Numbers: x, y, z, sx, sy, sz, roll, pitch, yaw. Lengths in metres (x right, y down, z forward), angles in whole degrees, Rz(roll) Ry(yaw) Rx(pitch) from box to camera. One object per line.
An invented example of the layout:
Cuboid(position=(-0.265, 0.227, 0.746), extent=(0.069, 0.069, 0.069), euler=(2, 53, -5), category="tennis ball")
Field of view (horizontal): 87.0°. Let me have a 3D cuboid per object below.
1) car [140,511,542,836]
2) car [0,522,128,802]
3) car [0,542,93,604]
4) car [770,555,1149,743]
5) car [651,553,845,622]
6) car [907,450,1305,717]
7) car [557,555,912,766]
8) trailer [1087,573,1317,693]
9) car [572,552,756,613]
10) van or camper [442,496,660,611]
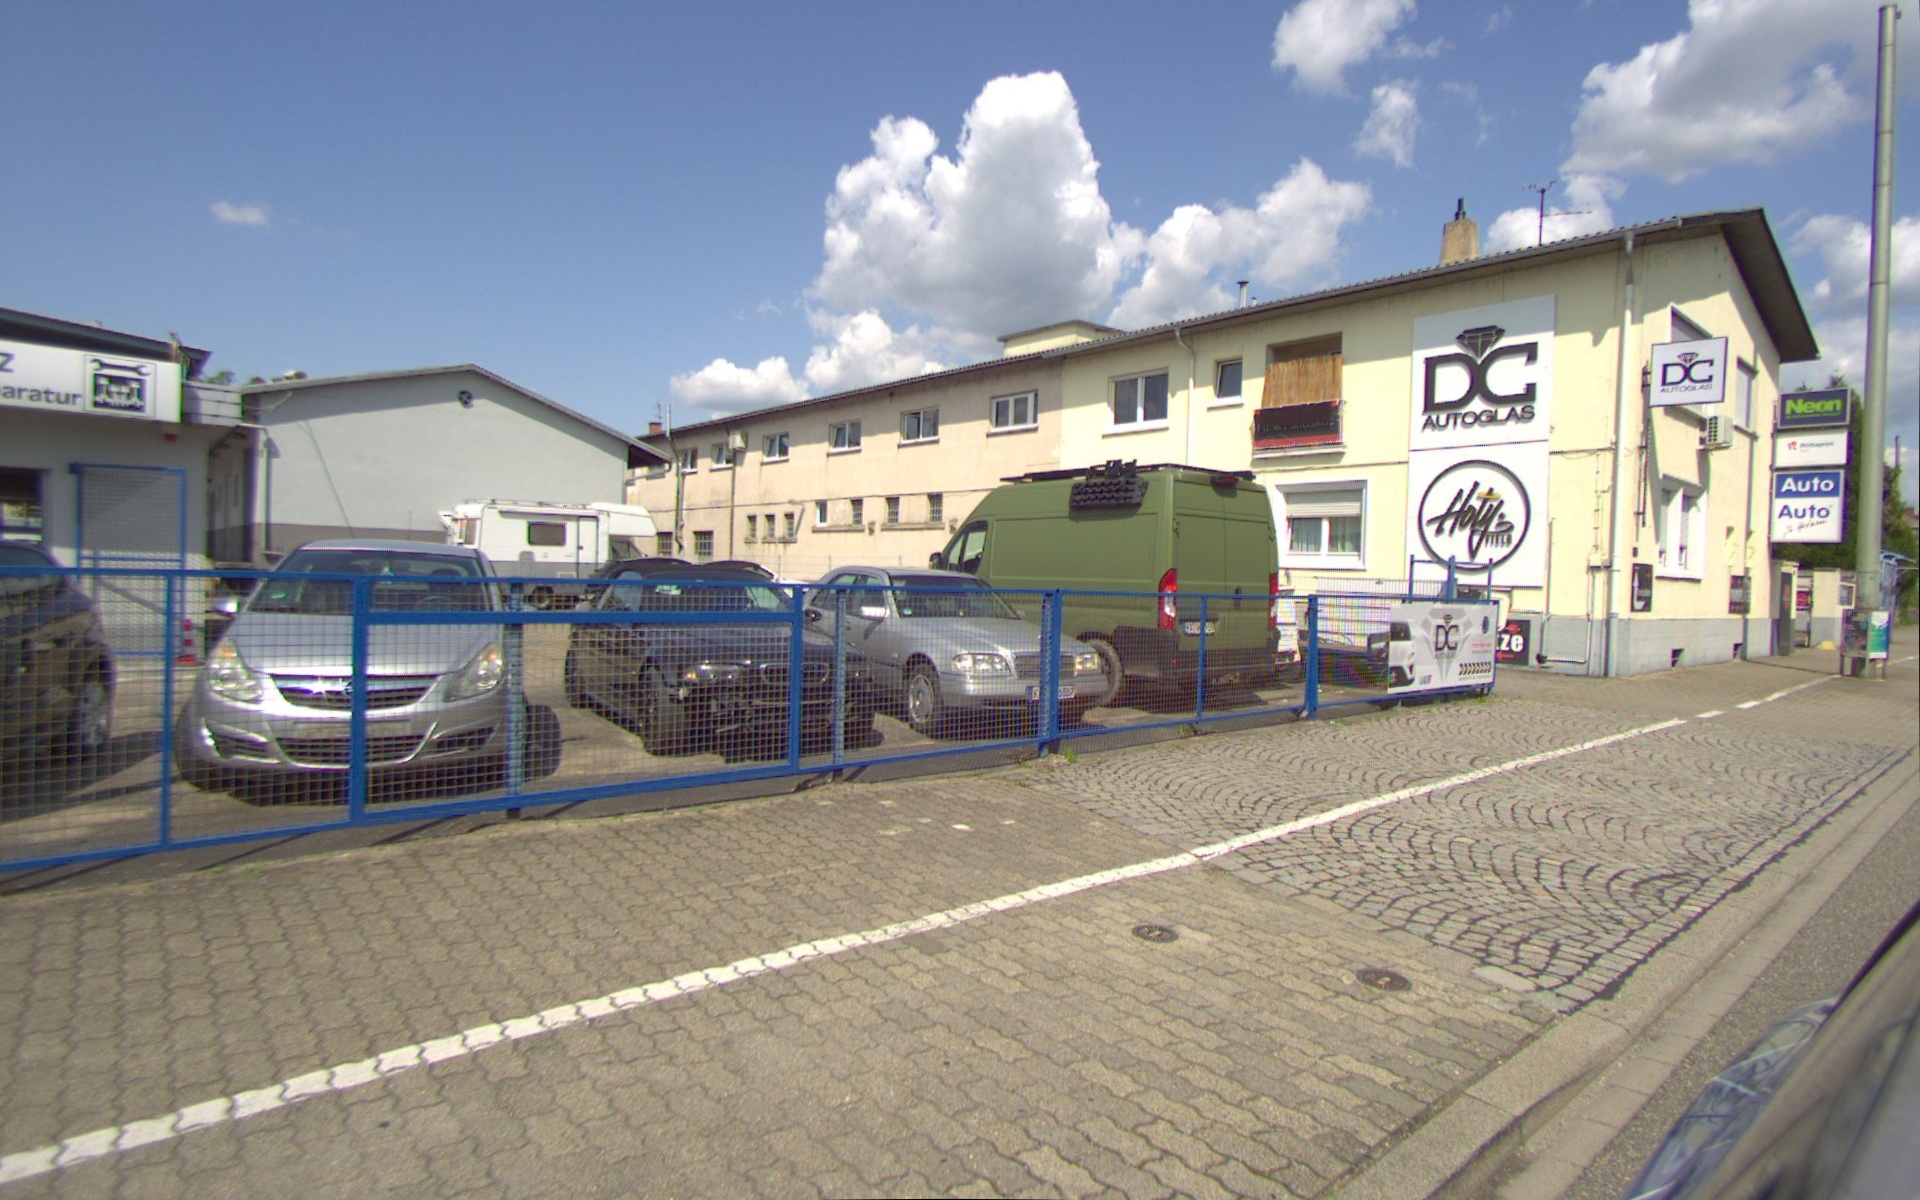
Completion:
Cuboid(position=(-3.870, 0.268, 6.876), extent=(1.714, 1.515, 4.008), euler=(1, 2, -25), category="car")
Cuboid(position=(-5.669, 0.326, 4.723), extent=(1.675, 1.460, 4.009), euler=(1, 2, -23), category="car")
Cuboid(position=(-22.855, -0.658, 23.506), extent=(4.110, 1.405, 1.925), euler=(-1, 3, -42), category="car")
Cuboid(position=(-0.240, 0.306, 10.161), extent=(1.785, 1.449, 4.200), euler=(0, 2, -33), category="car")
Cuboid(position=(-4.879, -0.321, 23.595), extent=(4.110, 1.433, 1.756), euler=(-1, 3, -42), category="car")
Cuboid(position=(1.556, -0.252, 12.319), extent=(2.112, 2.605, 4.549), euler=(0, 2, -38), category="car")
Cuboid(position=(-2.182, 0.324, 8.821), extent=(1.784, 1.372, 4.004), euler=(0, 2, -32), category="car")
Cuboid(position=(3.206, 0.367, 13.719), extent=(1.280, 1.349, 2.789), euler=(0, 3, -40), category="trailer")
Cuboid(position=(-7.516, -0.462, 25.880), extent=(4.110, 1.405, 1.925), euler=(-1, 3, -42), category="car")
Cuboid(position=(-10.996, -1.228, 27.412), extent=(4.978, 2.807, 2.311), euler=(-1, 3, -44), category="van or camper")
